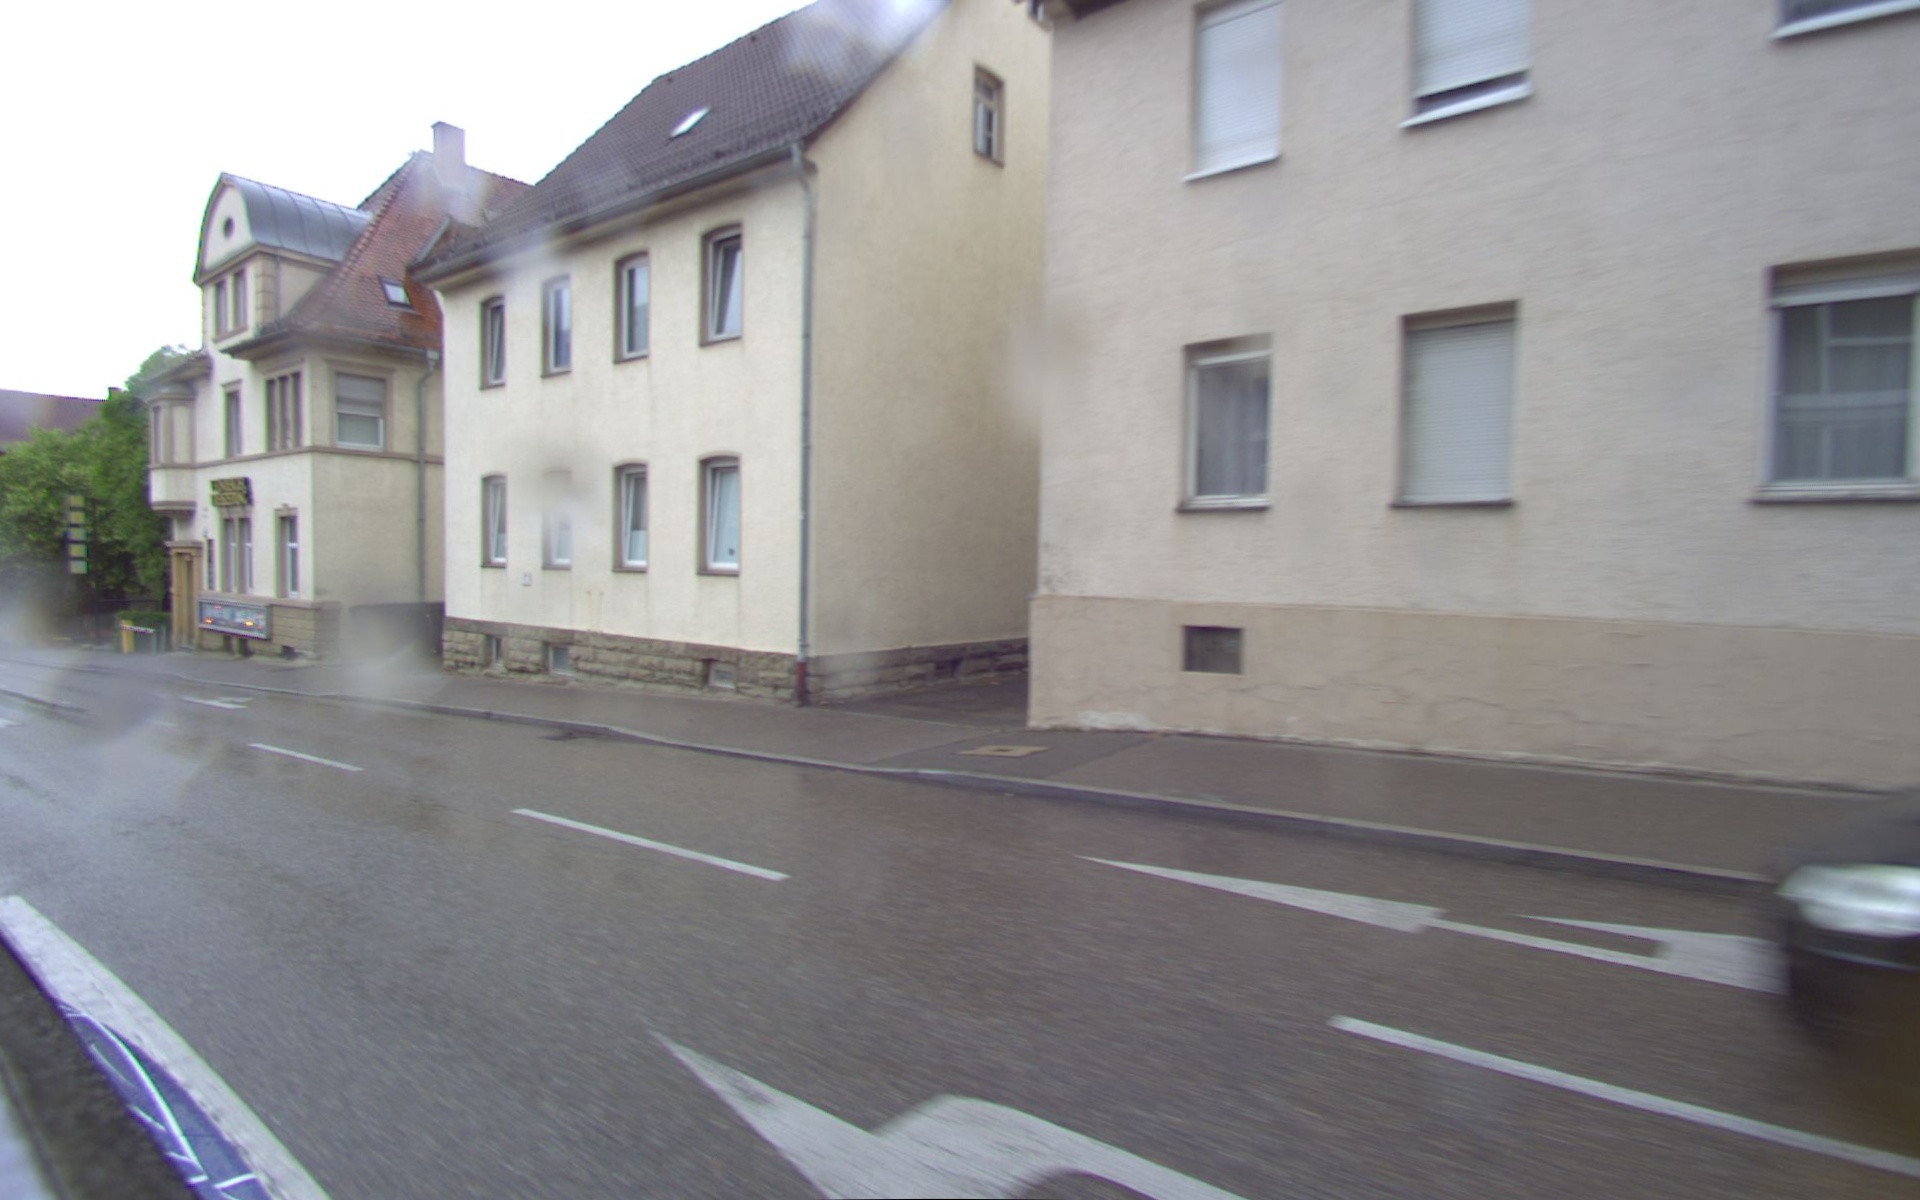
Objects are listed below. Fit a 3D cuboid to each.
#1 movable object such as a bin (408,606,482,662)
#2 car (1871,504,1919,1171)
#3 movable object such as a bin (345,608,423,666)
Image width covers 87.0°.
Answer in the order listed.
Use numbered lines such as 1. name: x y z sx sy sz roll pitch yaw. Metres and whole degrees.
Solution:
1. movable object such as a bin: -12.537 0.806 24.648 1.049 1.276 1.268 -1 0 37
2. car: 4.212 0.497 1.794 3.812 1.583 1.727 -1 4 42
3. movable object such as a bin: -13.491 0.840 23.720 1.049 1.276 1.268 -1 0 37
